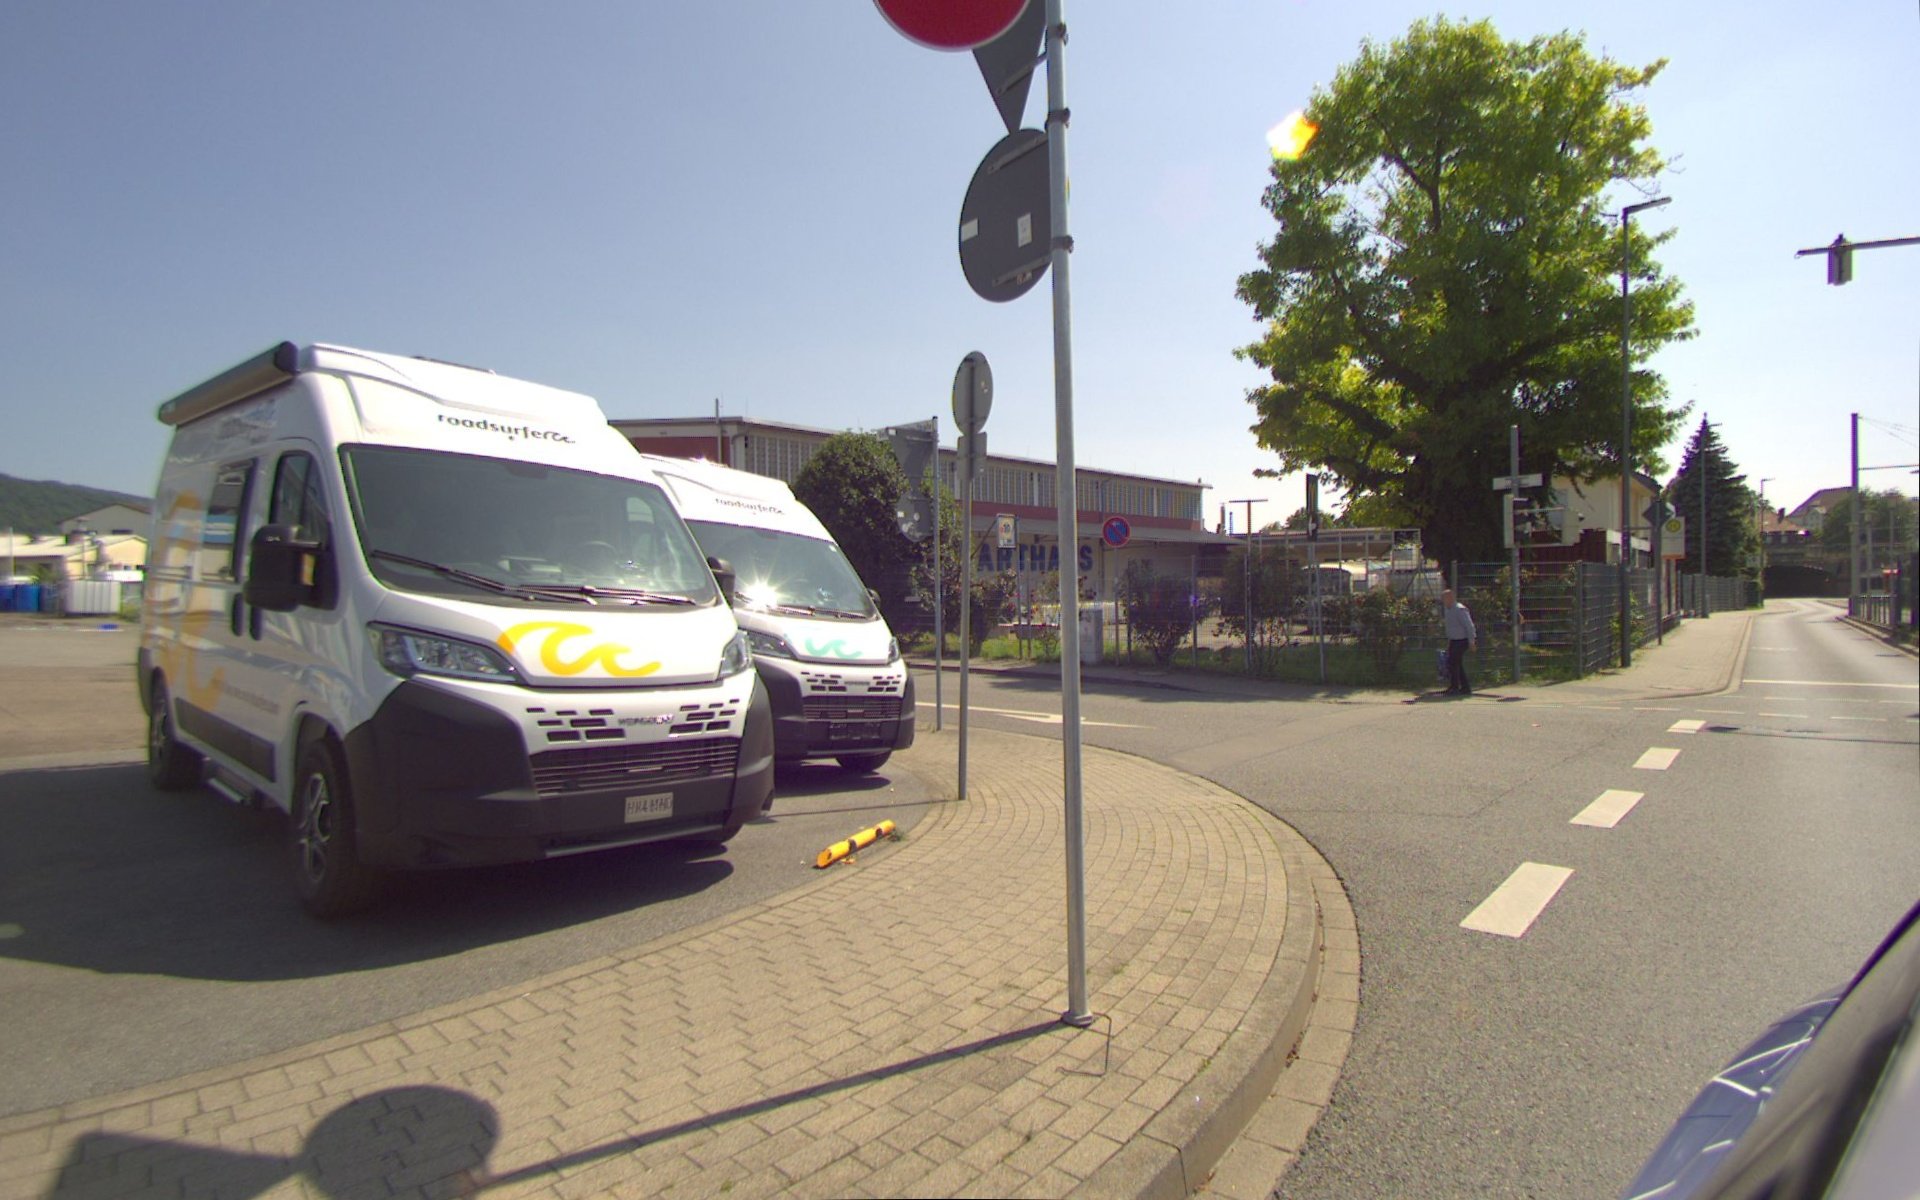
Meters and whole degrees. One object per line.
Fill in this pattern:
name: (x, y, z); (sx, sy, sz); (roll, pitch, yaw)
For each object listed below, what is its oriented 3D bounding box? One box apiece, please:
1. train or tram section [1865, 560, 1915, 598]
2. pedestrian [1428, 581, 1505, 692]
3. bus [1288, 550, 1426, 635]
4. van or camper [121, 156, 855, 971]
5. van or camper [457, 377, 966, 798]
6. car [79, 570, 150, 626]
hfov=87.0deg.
train or tram section: (91.130, -2.032, 99.318); (2.669, 3.528, 12.156); (0, 1, 39)
pedestrian: (8.129, 0.563, 16.273); (0.872, 1.720, 0.813); (0, 1, 8)
bus: (17.661, -0.482, 44.460); (2.562, 3.210, 10.124); (0, 3, 40)
van or camper: (-3.348, -0.163, 6.238); (5.809, 2.809, 2.058); (1, 0, 43)
van or camper: (-2.618, -0.052, 9.494); (5.506, 2.851, 2.015); (-1, -2, 44)
car: (-40.754, -0.094, 48.749); (5.588, 2.558, 2.078); (0, 0, 44)
